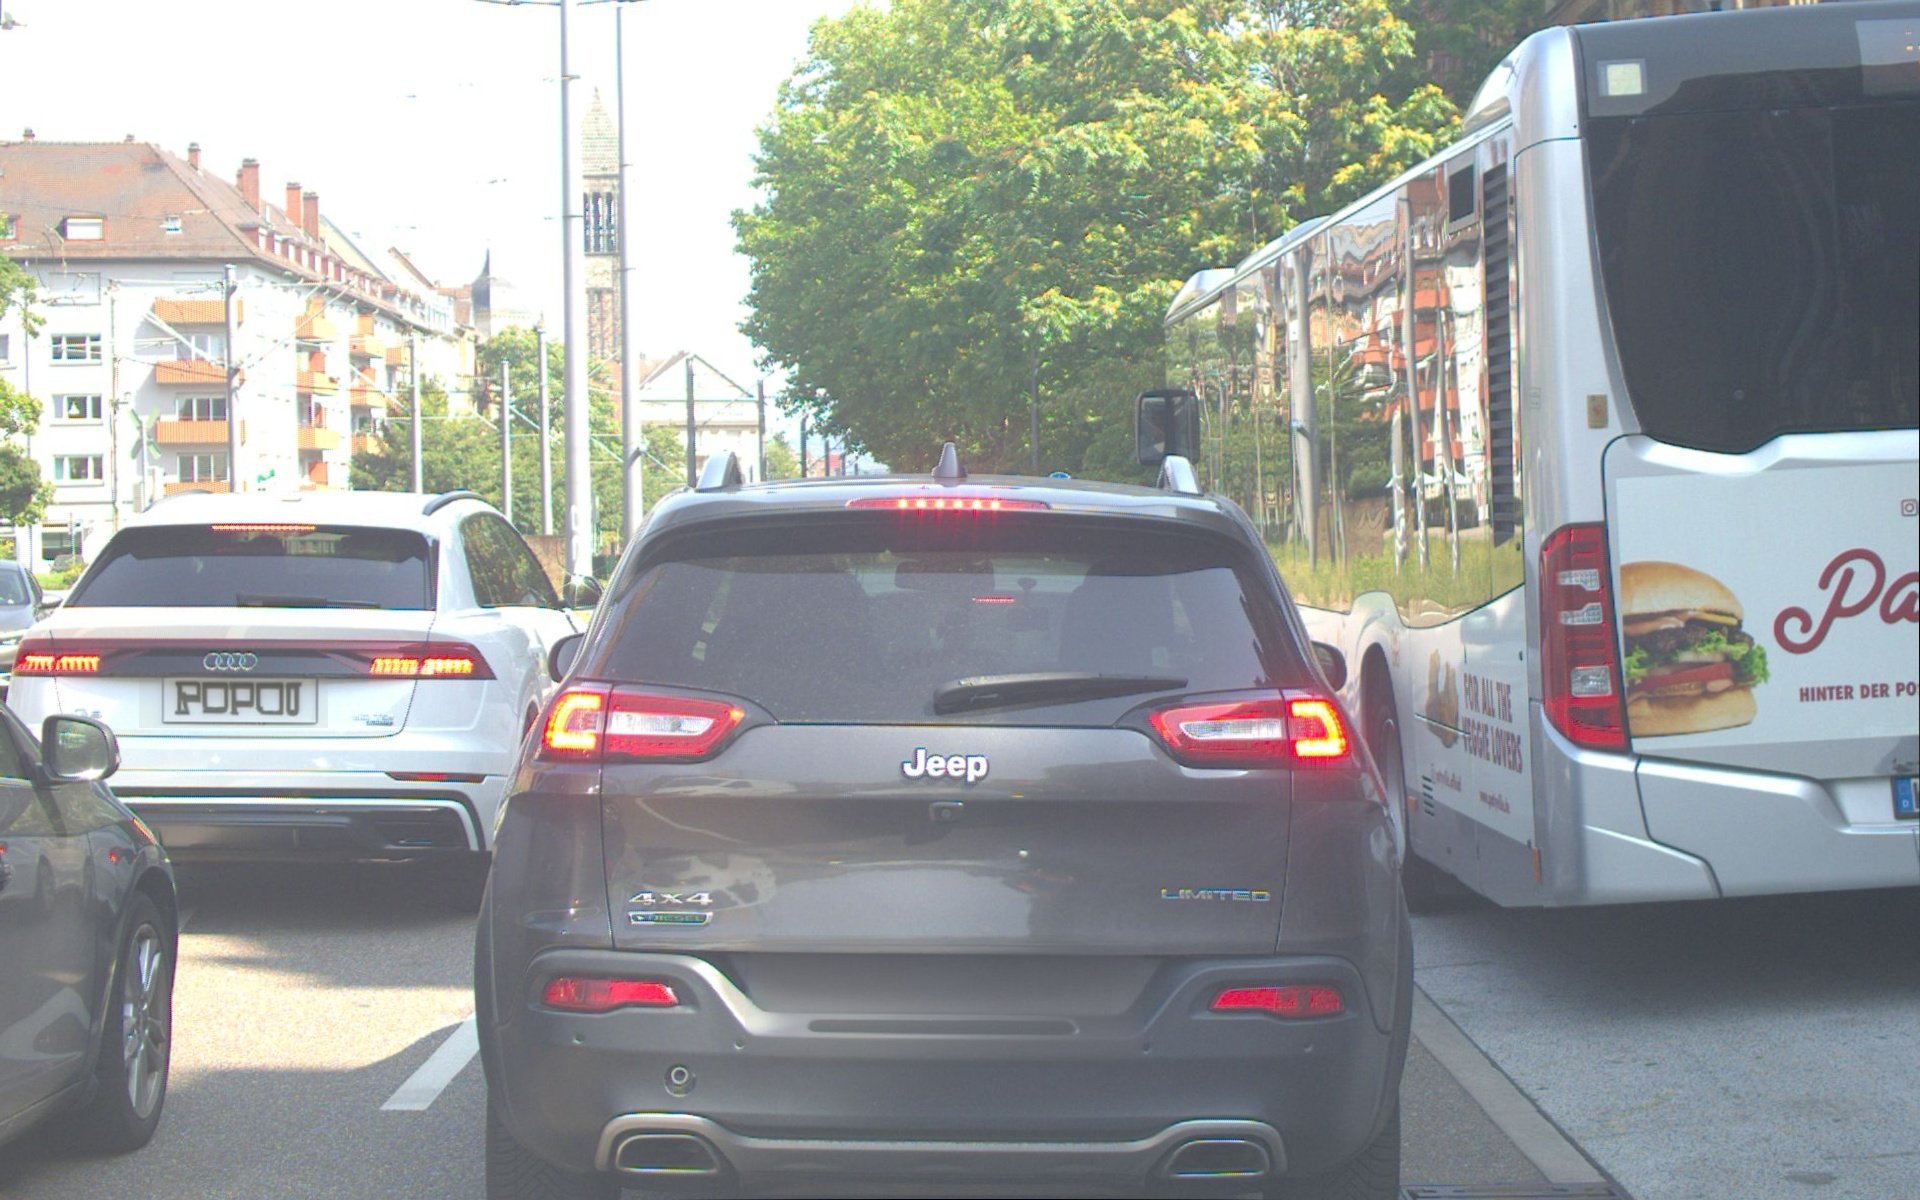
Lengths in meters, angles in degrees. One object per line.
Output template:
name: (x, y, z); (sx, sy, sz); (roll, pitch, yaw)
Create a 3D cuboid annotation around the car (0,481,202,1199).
car: (-2.820, 0.563, 6.737); (1.747, 1.609, 4.309); (0, 1, 0)

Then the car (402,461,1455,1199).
car: (-0.038, 0.541, 8.172); (1.832, 1.646, 4.308); (0, 1, 1)

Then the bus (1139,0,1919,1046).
bus: (2.766, -0.422, 15.987); (2.743, 3.096, 11.957); (-3, 1, -2)

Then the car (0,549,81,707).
car: (-9.795, 0.257, 34.040); (1.746, 1.430, 4.574); (-2, 2, -10)

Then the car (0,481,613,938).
car: (-2.623, 0.346, 14.568); (1.902, 1.646, 4.309); (0, 1, 0)
